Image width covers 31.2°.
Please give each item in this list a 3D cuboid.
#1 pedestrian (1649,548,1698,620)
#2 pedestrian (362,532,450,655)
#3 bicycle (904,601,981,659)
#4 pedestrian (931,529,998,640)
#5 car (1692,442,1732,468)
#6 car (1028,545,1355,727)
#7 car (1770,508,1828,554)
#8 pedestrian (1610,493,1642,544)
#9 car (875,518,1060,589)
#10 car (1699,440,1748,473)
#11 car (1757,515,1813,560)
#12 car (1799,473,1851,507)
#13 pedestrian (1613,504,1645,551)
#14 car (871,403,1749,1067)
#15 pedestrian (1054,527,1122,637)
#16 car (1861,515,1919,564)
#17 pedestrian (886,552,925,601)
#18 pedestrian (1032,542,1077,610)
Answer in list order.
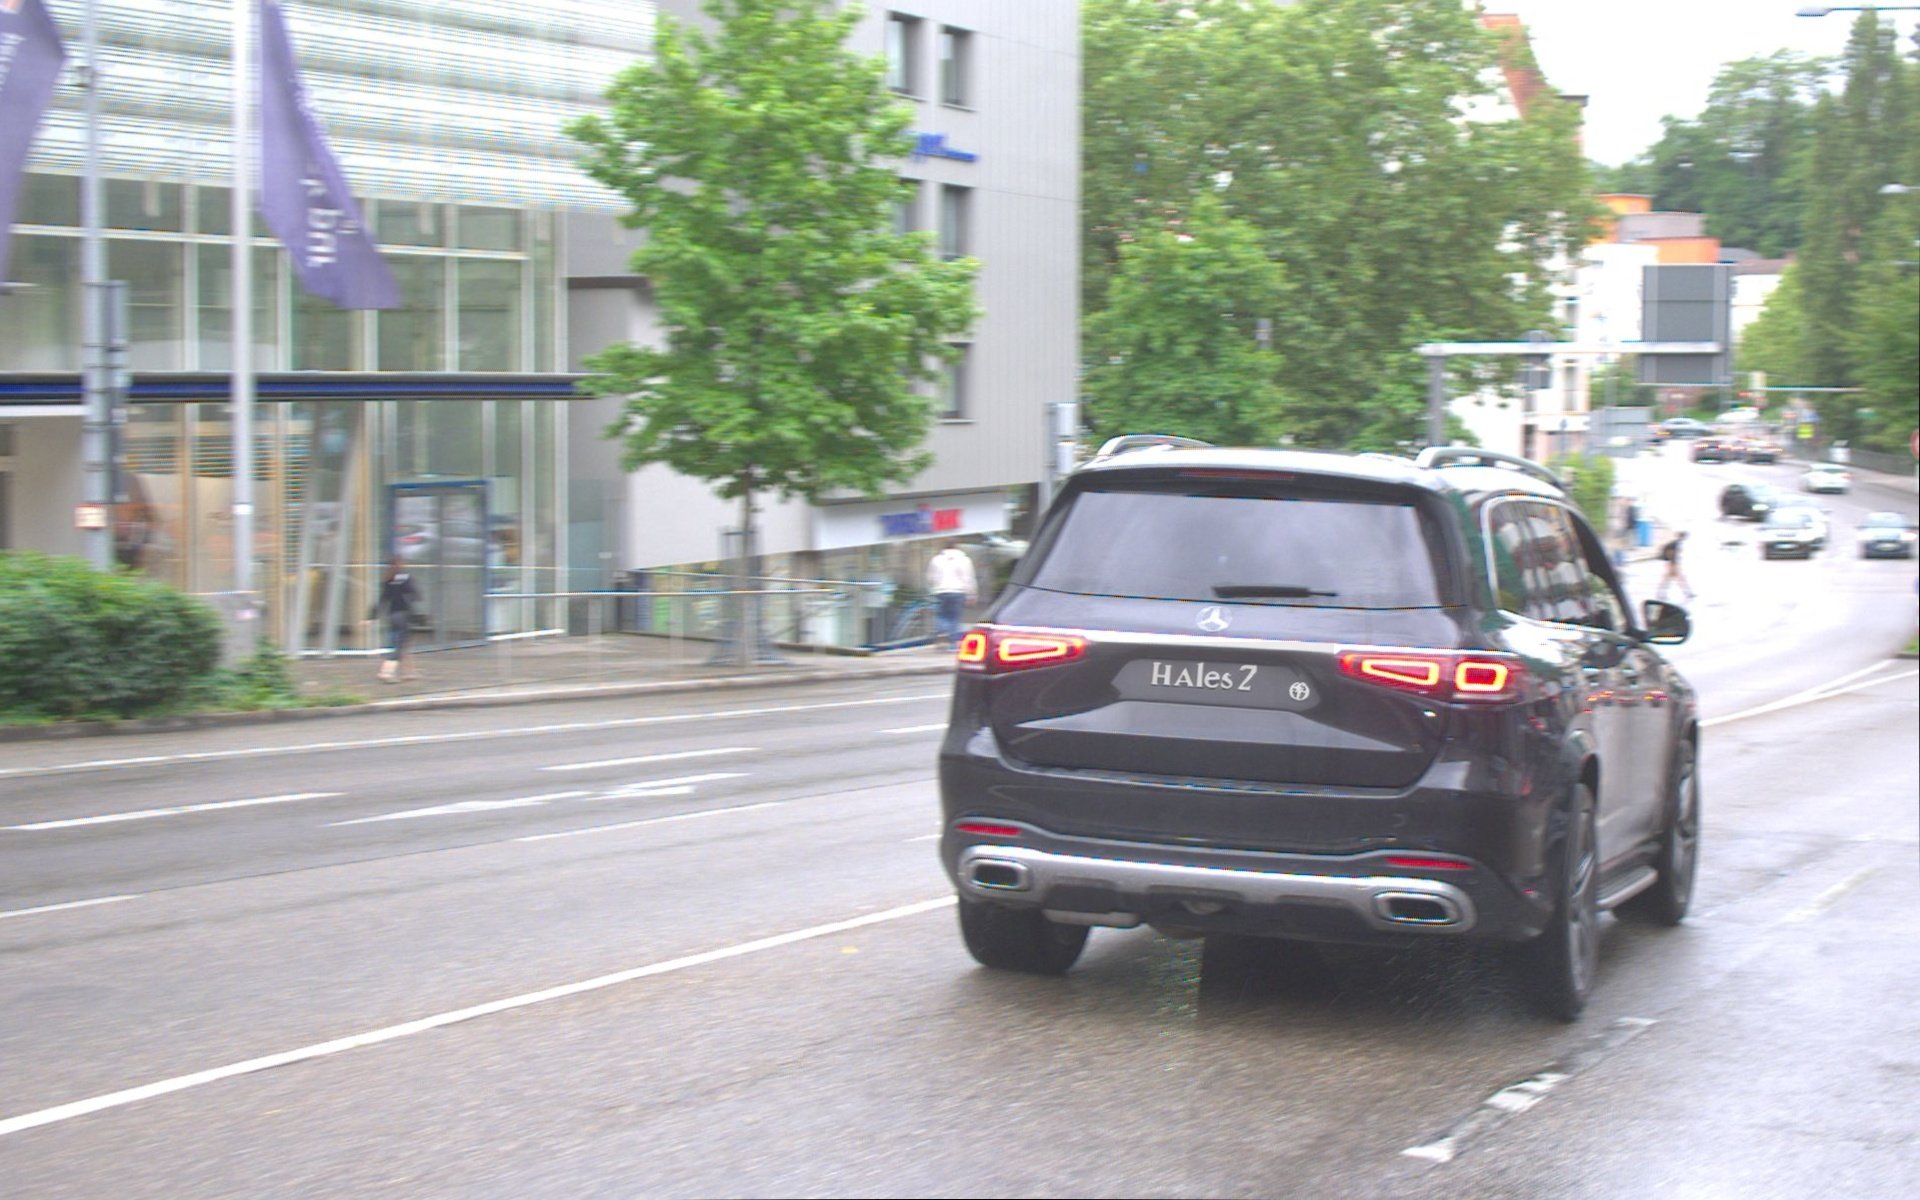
[{"bbox_3d":[18.883,-0.434,90.934,1.064,1.875,0.837,1,1,26],"label":"pedestrian"},{"bbox_3d":[-6.635,-0.087,41.163,0.653,1.451,0.843,1,1,27],"label":"pedestrian"},{"bbox_3d":[-0.333,0.582,68.401,0.612,1.083,2.668,3,1,20],"label":"bicycle"},{"bbox_3d":[0.069,-0.258,54.024,0.993,1.716,1.038,1,1,2],"label":"pedestrian"},{"bbox_3d":[46.538,-8.973,212.889,1.749,1.549,3.569,2,2,2],"label":"car"},{"bbox_3d":[2.195,0.280,31.526,1.843,1.547,4.089,0,1,21],"label":"car"},{"bbox_3d":[29.917,-2.461,122.682,1.778,1.544,3.998,2,2,11],"label":"car"},{"bbox_3d":[23.596,-2.888,121.849,0.902,1.796,0.628,0,1,-21],"label":"pedestrian"},{"bbox_3d":[0.228,-1.378,100.342,5.073,1.753,1.999,4,1,8],"label":"car"},{"bbox_3d":[49.151,-9.255,221.285,1.993,2.006,4.001,2,2,-3],"label":"car"},{"bbox_3d":[27.673,-2.100,115.369,1.707,1.446,3.859,2,2,12],"label":"car"},{"bbox_3d":[43.510,-5.528,172.988,1.994,1.590,3.999,2,2,7],"label":"car"},{"bbox_3d":[23.398,-2.537,120.228,0.923,1.602,0.564,0,1,-21],"label":"pedestrian"},{"bbox_3d":[1.504,0.329,12.364,2.089,1.810,4.788,3,2,18],"label":"car"},{"bbox_3d":[2.035,-0.294,54.515,0.816,1.707,1.312,1,1,13],"label":"pedestrian"},{"bbox_3d":[31.177,-2.017,115.117,1.821,1.544,3.997,2,2,15],"label":"car"},{"bbox_3d":[-1.433,-0.629,90.266,0.948,1.268,0.760,1,1,-6],"label":"pedestrian"},{"bbox_3d":[2.405,-0.618,87.569,0.759,1.716,0.950,1,1,33],"label":"pedestrian"}]
